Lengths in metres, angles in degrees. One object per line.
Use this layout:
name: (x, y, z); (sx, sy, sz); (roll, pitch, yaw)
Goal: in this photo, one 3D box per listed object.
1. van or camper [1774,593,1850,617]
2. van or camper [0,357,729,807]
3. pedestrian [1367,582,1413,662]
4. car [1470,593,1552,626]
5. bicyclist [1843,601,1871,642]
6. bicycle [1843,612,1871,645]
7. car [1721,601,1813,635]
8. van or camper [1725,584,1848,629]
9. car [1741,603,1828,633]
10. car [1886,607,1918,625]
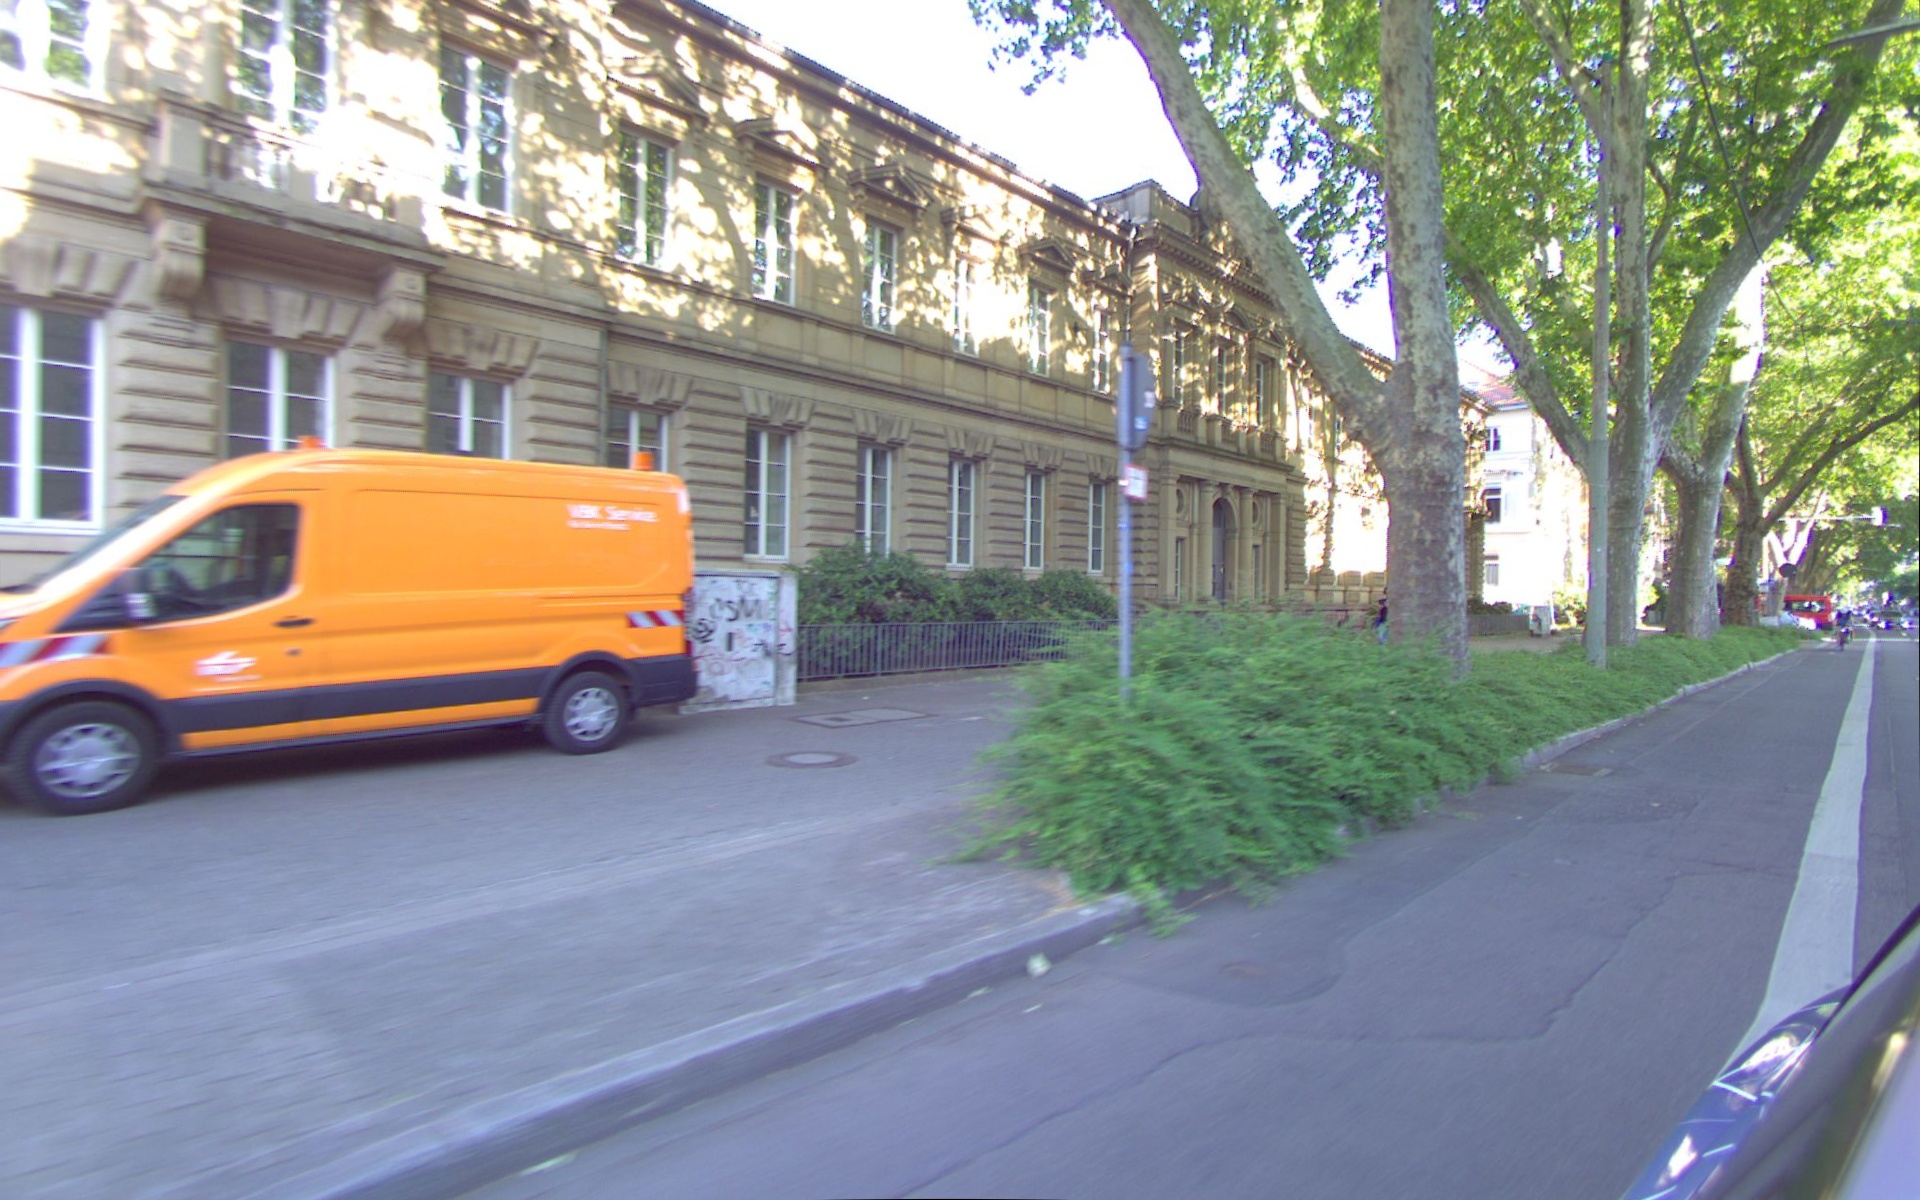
van or camper: (91.070, 0.518, 108.254); (6.083, 2.461, 2.390); (2, 1, 43)
van or camper: (-4.843, -0.115, 8.019); (2.036, 2.591, 5.681); (1, 1, 44)
pedestrian: (9.765, 0.479, 22.964); (0.650, 1.758, 0.992); (1, 0, 43)
car: (29.644, 0.471, 54.500); (3.562, 1.561, 1.711); (2, 3, 43)
bicyclist: (33.088, 0.779, 37.322); (0.713, 1.461, 0.938); (1, 0, 44)
bicycle: (33.076, 1.017, 37.313); (0.713, 1.152, 2.087); (1, 1, 42)
car: (42.529, 0.903, 53.366); (3.667, 1.561, 1.591); (2, 3, 43)
van or camper: (51.950, 0.350, 63.721); (5.907, 2.528, 2.189); (1, 3, 41)
car: (46.258, 0.981, 56.809); (3.667, 1.435, 1.591); (2, 3, 43)
car: (77.558, 1.300, 83.365); (1.733, 1.390, 3.860); (-1, -1, 41)
